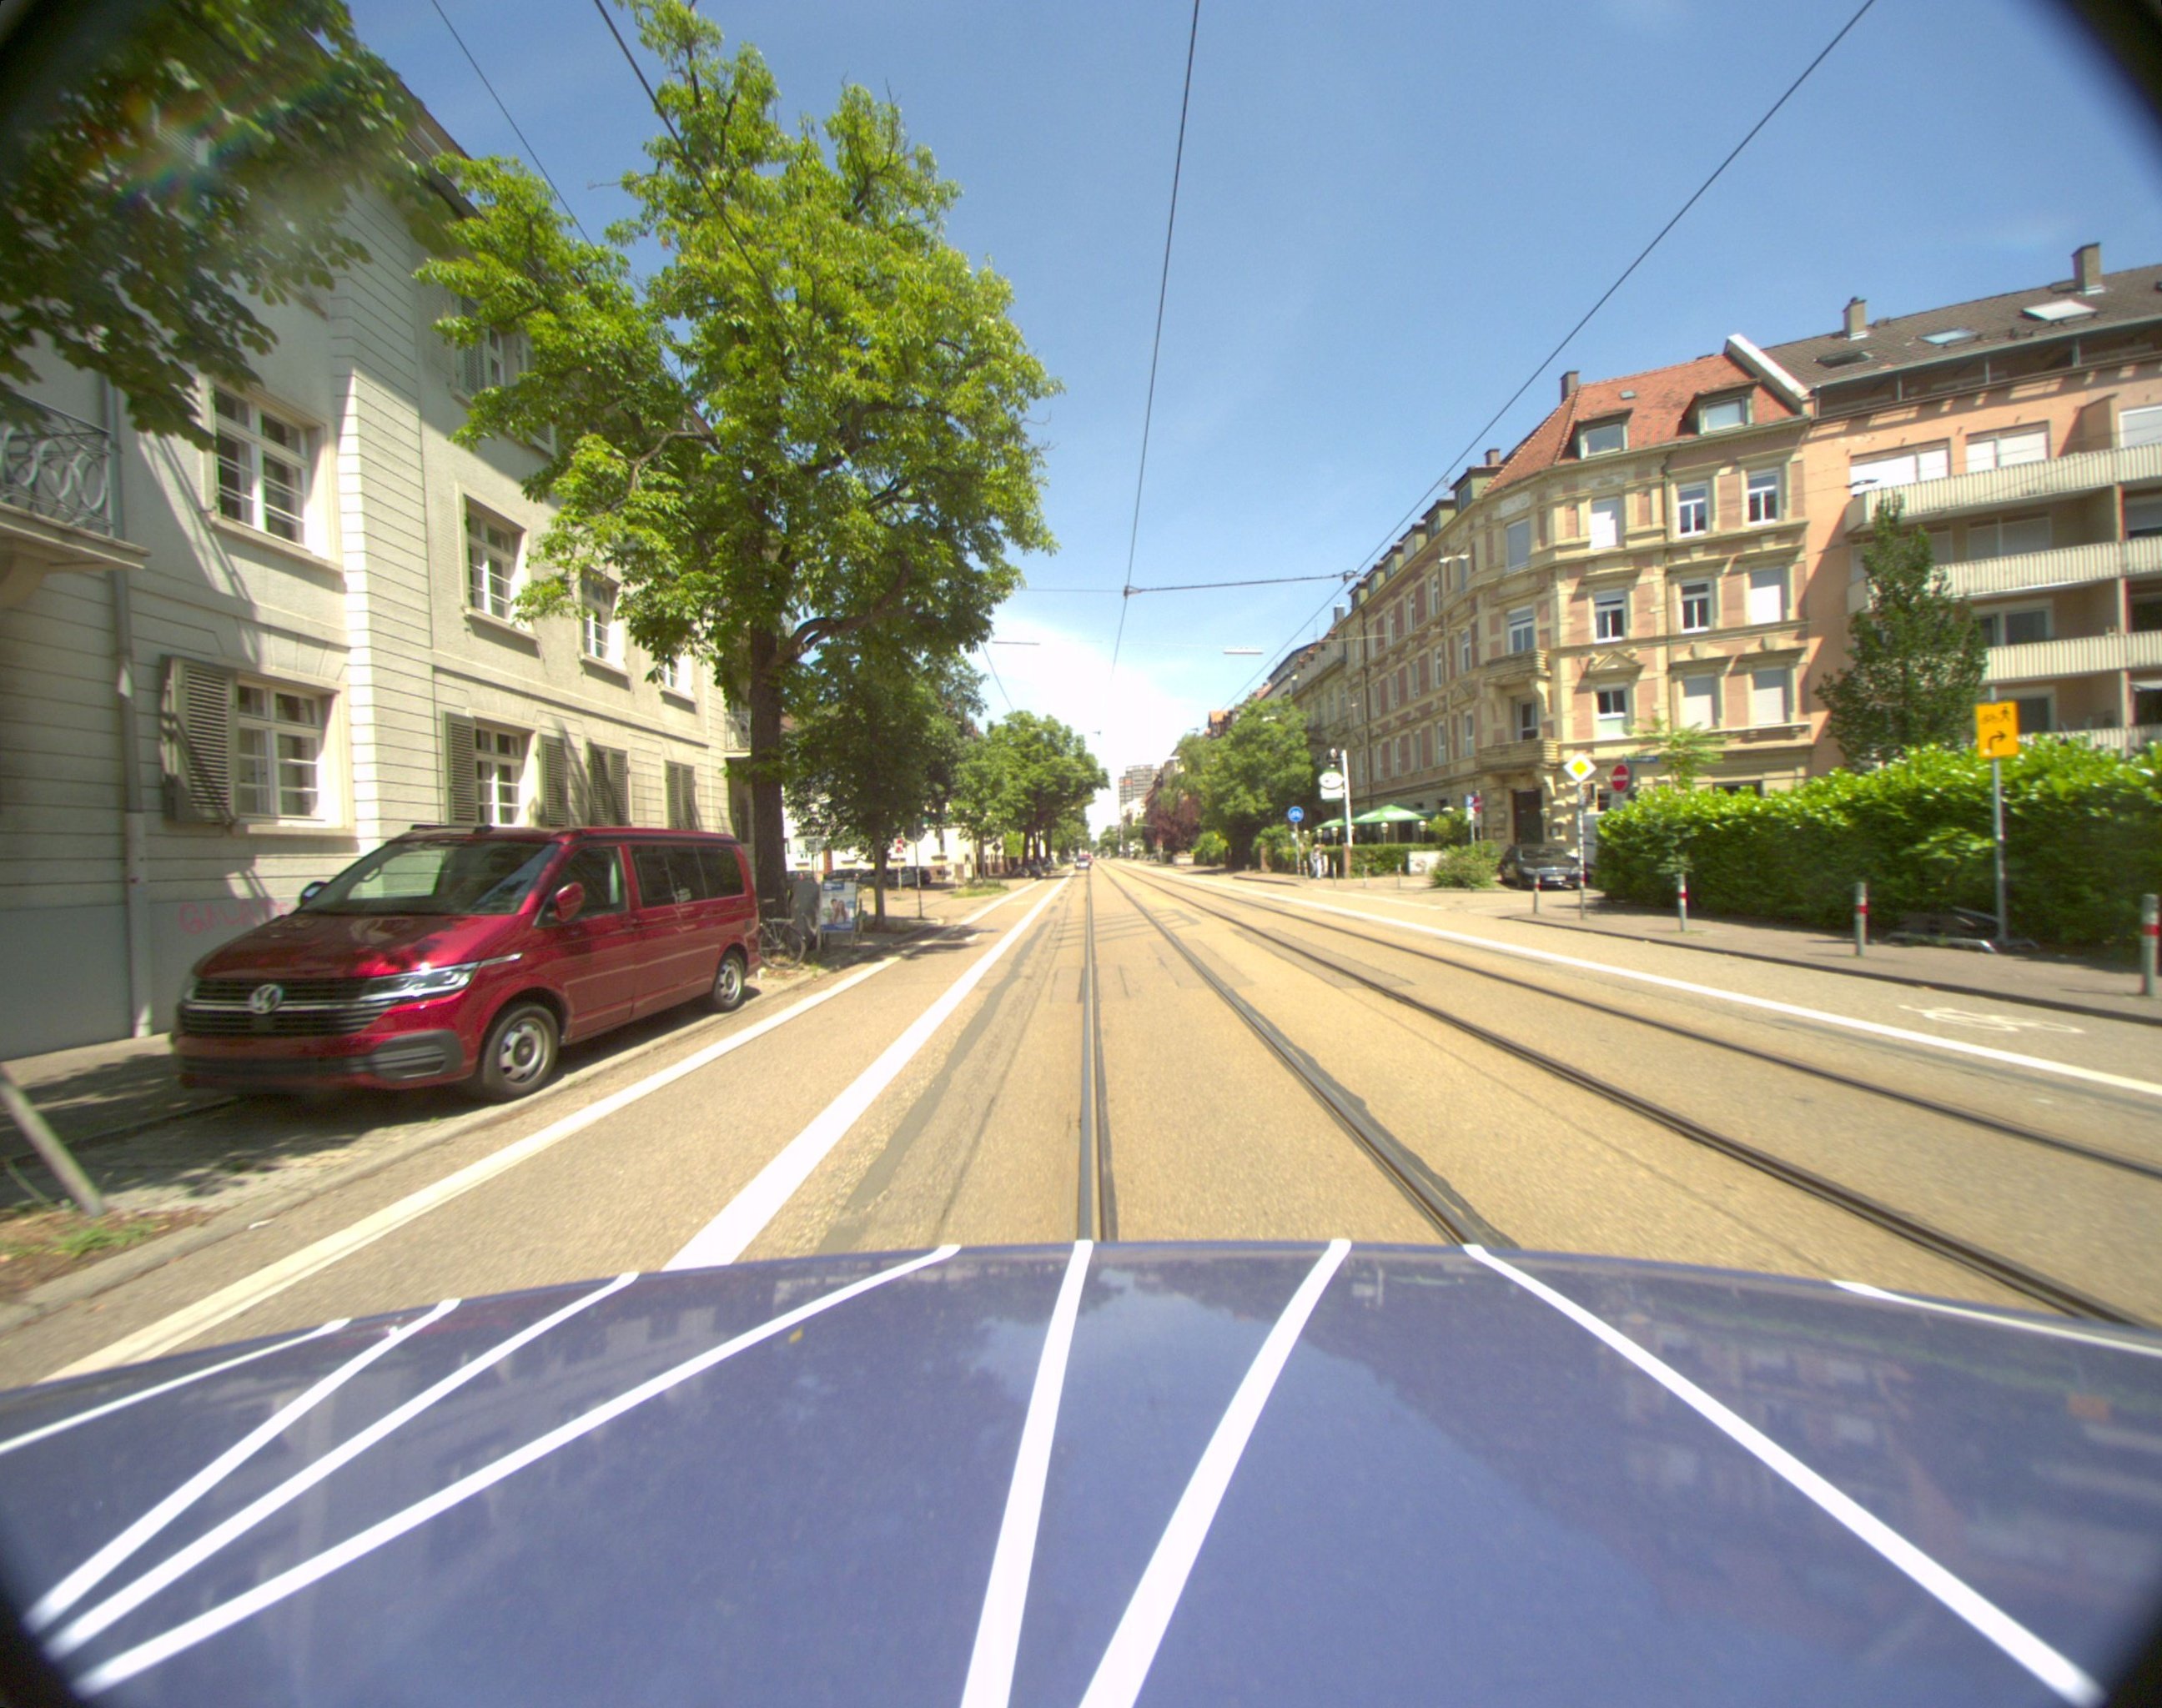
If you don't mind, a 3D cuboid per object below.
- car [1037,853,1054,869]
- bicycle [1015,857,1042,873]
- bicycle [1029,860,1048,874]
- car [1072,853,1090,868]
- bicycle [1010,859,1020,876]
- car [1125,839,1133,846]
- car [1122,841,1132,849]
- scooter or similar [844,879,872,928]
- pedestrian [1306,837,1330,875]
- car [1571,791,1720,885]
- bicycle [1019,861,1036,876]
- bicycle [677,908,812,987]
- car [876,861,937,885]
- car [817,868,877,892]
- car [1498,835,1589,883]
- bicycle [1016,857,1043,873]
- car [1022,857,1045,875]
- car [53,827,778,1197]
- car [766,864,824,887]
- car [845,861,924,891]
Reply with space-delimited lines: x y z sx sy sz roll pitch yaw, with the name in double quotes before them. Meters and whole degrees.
"car" -3.888 0.779 83.783 1.539 1.535 3.999 -3 1 1
"bicycle" -4.202 0.901 60.773 2.037 1.194 0.445 -3 2 10
"bicycle" -3.904 1.165 70.254 1.623 1.194 0.305 -3 2 2
"car" 0.029 0.719 87.194 1.893 1.561 4.036 -3 1 1
"bicycle" -4.914 0.991 56.423 0.284 1.193 1.625 -4 2 -19
"car" 10.370 -2.560 164.686 1.493 1.372 3.630 -3 1 1
"car" 11.089 -2.182 183.771 1.998 1.717 3.871 -3 1 1
"scooter or similar" -5.633 1.236 19.224 0.296 1.154 1.252 -3 1 0
"pedestrian" 10.476 0.099 33.545 0.742 1.632 0.939 -3 1 3
"car" 17.854 -0.503 24.459 2.121 2.575 6.197 -2 1 20
"bicycle" -3.963 1.079 56.159 1.169 1.057 0.280 -3 2 4
"bicycle" -4.821 1.329 10.943 1.701 1.016 0.364 -2 1 -5
"car" -12.242 1.334 53.392 3.874 1.439 1.648 -2 2 23
"car" -17.255 1.897 56.042 3.990 1.495 1.823 -3 4 28
"car" 15.192 0.118 25.134 1.592 1.430 3.761 -3 1 16
"bicycle" -4.147 0.886 61.279 2.037 1.194 0.445 -3 2 10
"car" -4.075 0.978 65.437 1.596 1.444 3.632 -2 0 1
"car" -4.758 0.908 6.774 1.864 2.002 4.976 -3 0 2
"car" -22.081 1.673 58.672 3.990 1.571 1.872 -3 2 28
"car" -12.255 1.397 47.258 4.665 1.506 1.879 -4 0 29
